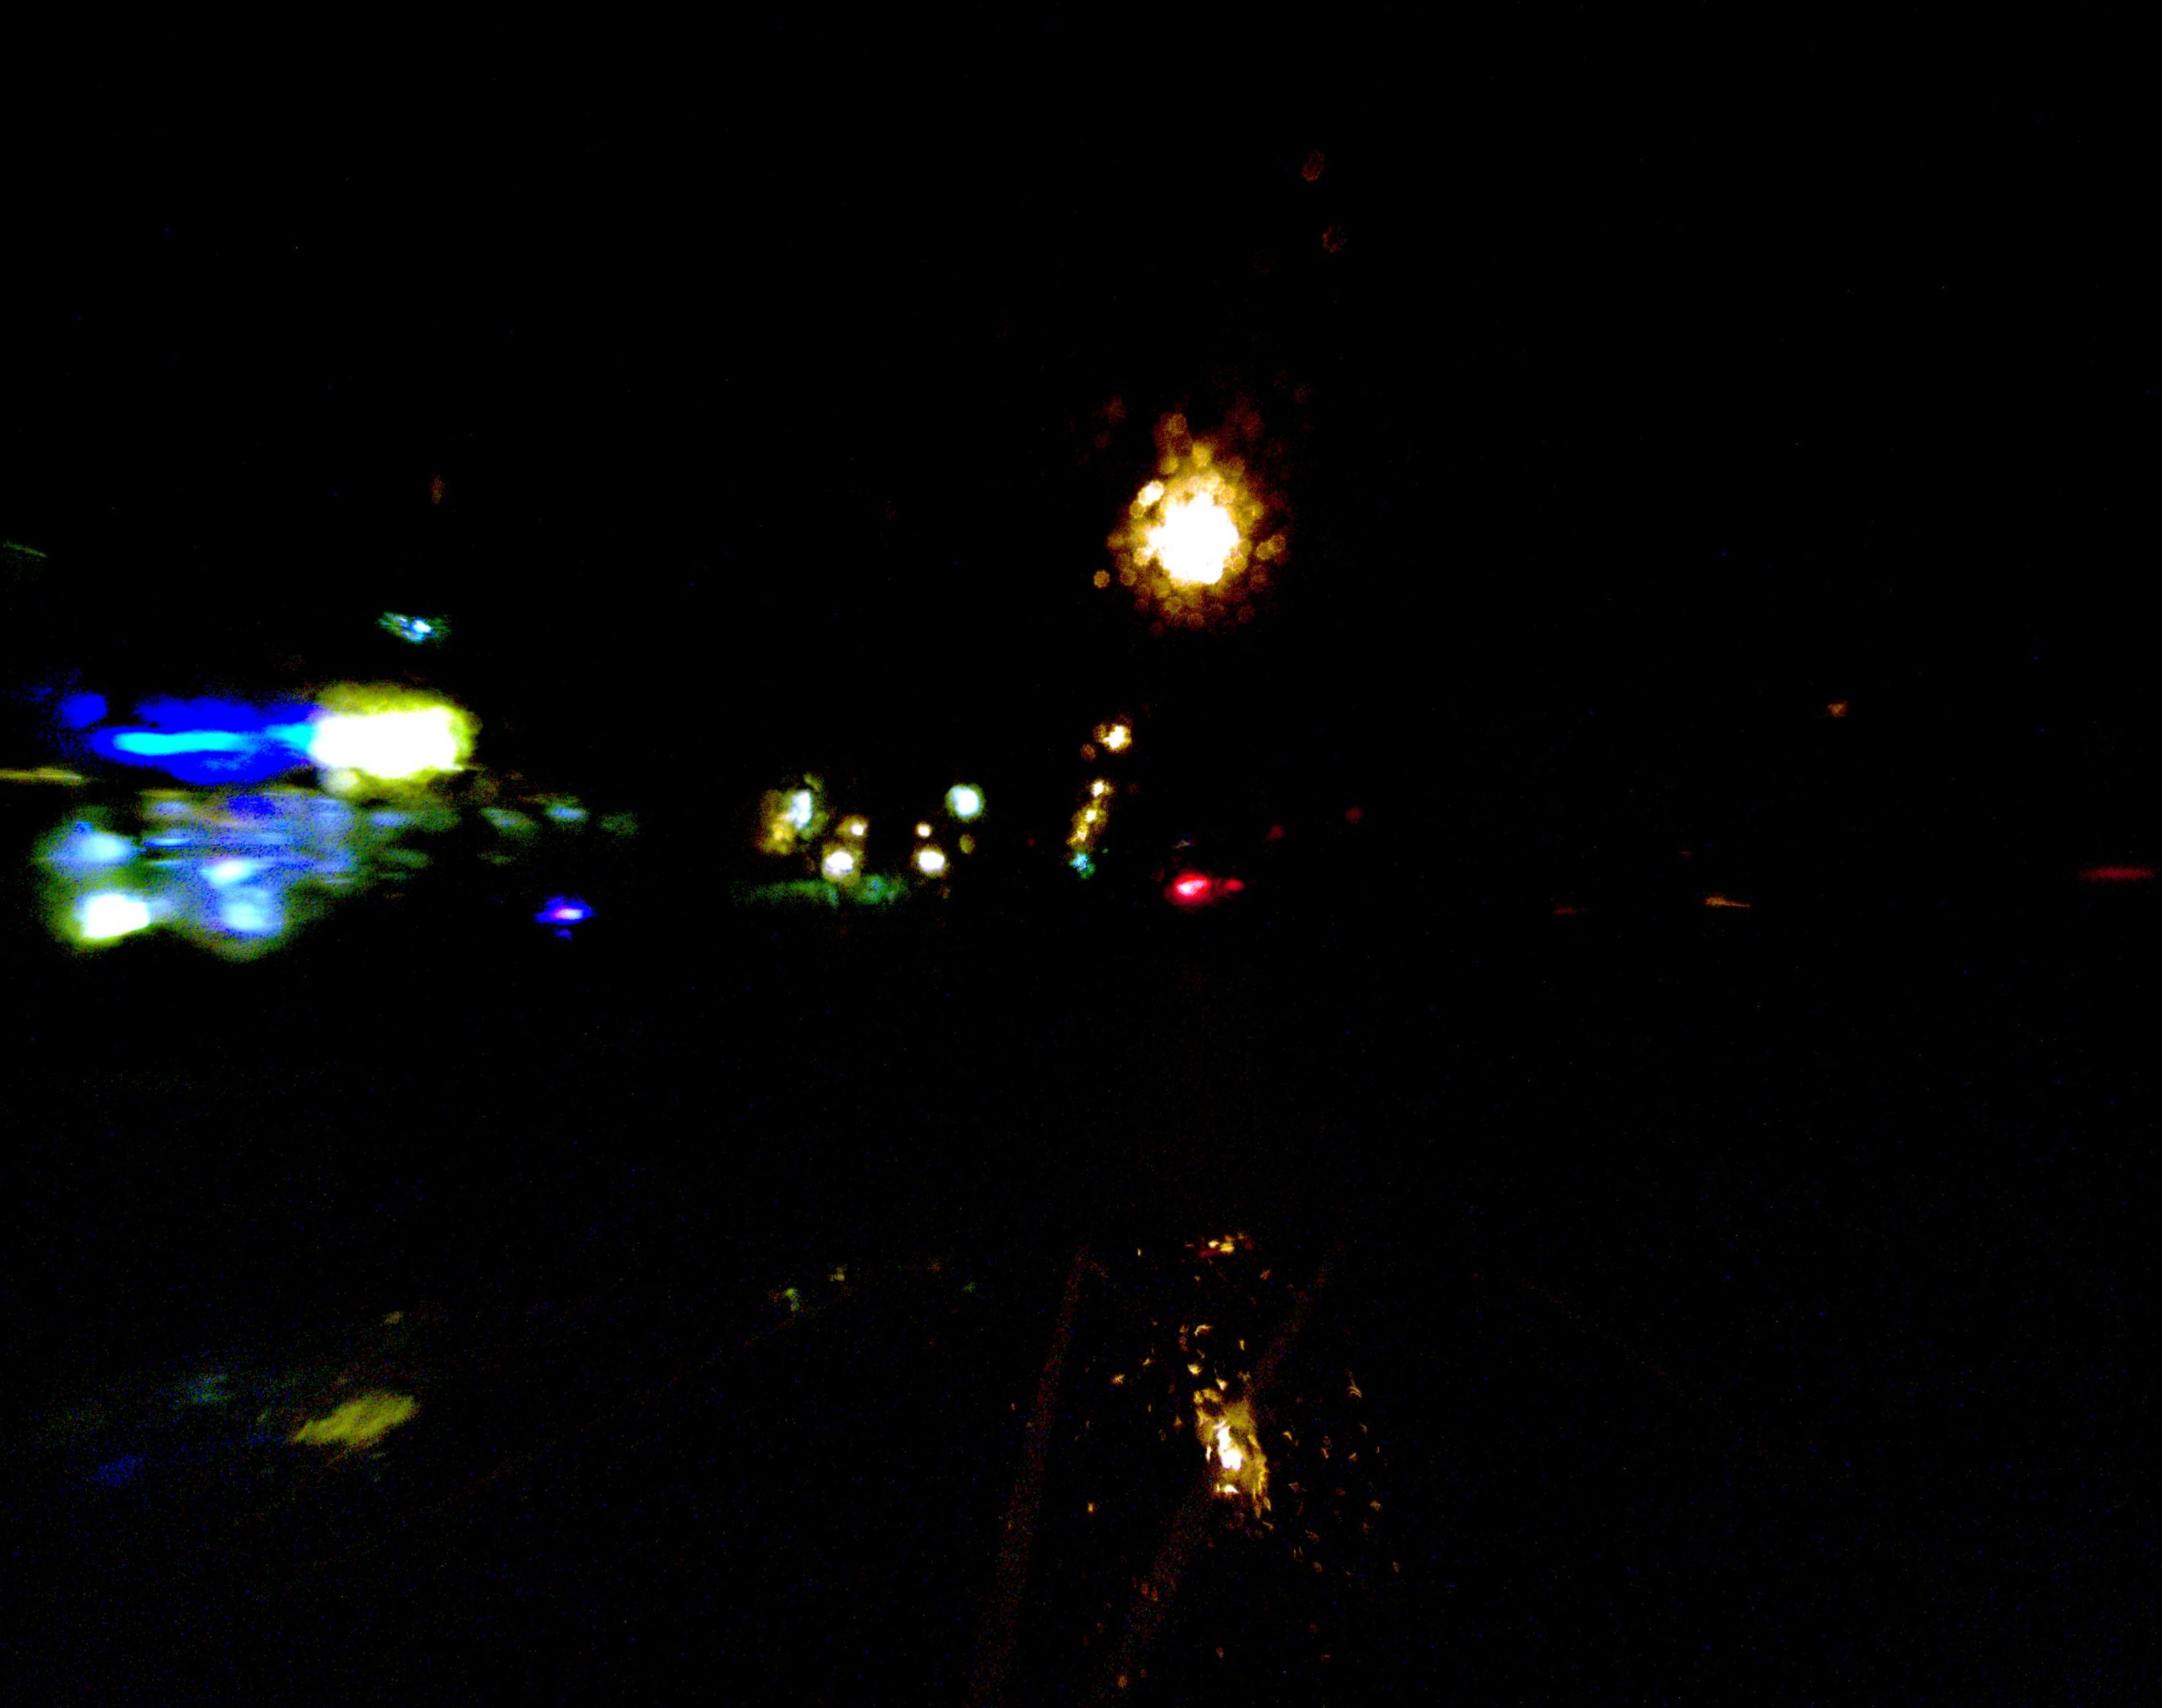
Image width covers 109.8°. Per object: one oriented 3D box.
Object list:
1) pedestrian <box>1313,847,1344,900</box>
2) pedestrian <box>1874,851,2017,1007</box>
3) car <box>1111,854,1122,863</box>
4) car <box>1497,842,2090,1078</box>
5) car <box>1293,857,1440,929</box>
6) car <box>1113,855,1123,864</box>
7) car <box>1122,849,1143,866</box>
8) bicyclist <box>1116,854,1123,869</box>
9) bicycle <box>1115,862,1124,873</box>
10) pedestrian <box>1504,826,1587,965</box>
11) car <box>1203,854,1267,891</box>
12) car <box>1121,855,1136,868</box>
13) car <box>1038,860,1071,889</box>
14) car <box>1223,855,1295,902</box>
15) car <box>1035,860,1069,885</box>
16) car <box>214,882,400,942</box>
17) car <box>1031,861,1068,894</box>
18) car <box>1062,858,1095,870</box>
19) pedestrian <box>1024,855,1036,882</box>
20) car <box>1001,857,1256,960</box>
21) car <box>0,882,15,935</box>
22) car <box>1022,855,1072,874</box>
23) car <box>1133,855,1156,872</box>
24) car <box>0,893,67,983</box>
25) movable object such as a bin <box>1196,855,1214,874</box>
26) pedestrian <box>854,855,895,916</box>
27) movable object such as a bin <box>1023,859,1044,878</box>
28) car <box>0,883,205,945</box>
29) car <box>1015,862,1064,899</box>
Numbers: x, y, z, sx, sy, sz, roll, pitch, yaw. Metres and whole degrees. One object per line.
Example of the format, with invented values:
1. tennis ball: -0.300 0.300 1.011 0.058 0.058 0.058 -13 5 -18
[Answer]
1. pedestrian: 8.807 0.675 27.093 0.745 1.794 0.986 -3 1 3
2. pedestrian: 9.173 0.757 8.083 0.658 1.543 0.762 -4 1 -15
3. car: 6.157 0.810 130.942 1.696 1.470 3.385 -1 -1 4
4. car: 6.525 0.778 7.905 1.837 1.707 4.594 -1 0 0
5. car: 6.748 0.847 18.570 1.837 1.477 4.594 -1 0 0
6. car: 6.048 0.822 124.759 1.532 1.445 3.383 -1 0 0
7. car: 5.822 0.366 85.873 2.001 1.818 5.206 -1 0 0
8. bicyclist: 3.973 0.791 78.099 0.720 1.547 0.895 0 1 0
9. bicycle: 3.958 1.393 78.306 0.729 1.066 2.348 0 0 0
10. pedestrian: 6.854 0.600 11.242 0.769 1.962 0.658 -3 1 7
11. car: 6.590 0.758 32.954 1.837 1.472 4.306 -1 0 0
12. car: 5.689 0.883 91.204 1.573 1.451 3.720 -1 0 0
13. car: -1.534 1.115 43.122 1.694 1.489 3.889 -1 0 -4
14. car: 6.517 0.865 28.224 1.749 1.579 3.765 -1 0 0
15. car: -1.813 1.121 48.241 1.999 1.455 4.416 -1 0 0
16. car: -20.952 1.548 20.660 3.413 1.449 1.610 -1 0 1
17. car: -1.528 1.152 37.862 1.694 1.489 3.891 -1 0 -1
18. car: -0.339 1.273 100.457 3.989 1.368 1.756 -3 1 38
19. pedestrian: -3.438 0.964 50.894 0.704 1.777 0.624 1 0 3
20. car: 0.772 0.890 14.344 4.561 1.608 1.931 0 0 42
21. car: -31.483 1.529 20.420 3.413 1.449 1.610 -1 0 1
22. car: -3.151 0.949 70.807 4.524 1.522 1.780 2 0 -1
23. car: 6.159 0.891 74.249 1.772 1.474 4.772 -4 0 1
24. car: -20.617 1.494 12.786 4.419 1.494 1.770 -1 0 -4
25. movable object such as a bin: 9.392 0.769 57.704 1.104 1.445 1.378 0 0 -2
26. pedestrian: -6.226 0.935 22.955 0.864 1.777 1.083 1 -1 3
27. movable object such as a bin: -3.581 1.084 57.549 1.311 1.421 1.051 -1 1 9
28. car: -26.168 1.561 20.157 3.977 1.449 1.610 -1 0 1
29. car: -1.703 1.085 32.351 1.922 1.403 3.999 -1 0 -1
